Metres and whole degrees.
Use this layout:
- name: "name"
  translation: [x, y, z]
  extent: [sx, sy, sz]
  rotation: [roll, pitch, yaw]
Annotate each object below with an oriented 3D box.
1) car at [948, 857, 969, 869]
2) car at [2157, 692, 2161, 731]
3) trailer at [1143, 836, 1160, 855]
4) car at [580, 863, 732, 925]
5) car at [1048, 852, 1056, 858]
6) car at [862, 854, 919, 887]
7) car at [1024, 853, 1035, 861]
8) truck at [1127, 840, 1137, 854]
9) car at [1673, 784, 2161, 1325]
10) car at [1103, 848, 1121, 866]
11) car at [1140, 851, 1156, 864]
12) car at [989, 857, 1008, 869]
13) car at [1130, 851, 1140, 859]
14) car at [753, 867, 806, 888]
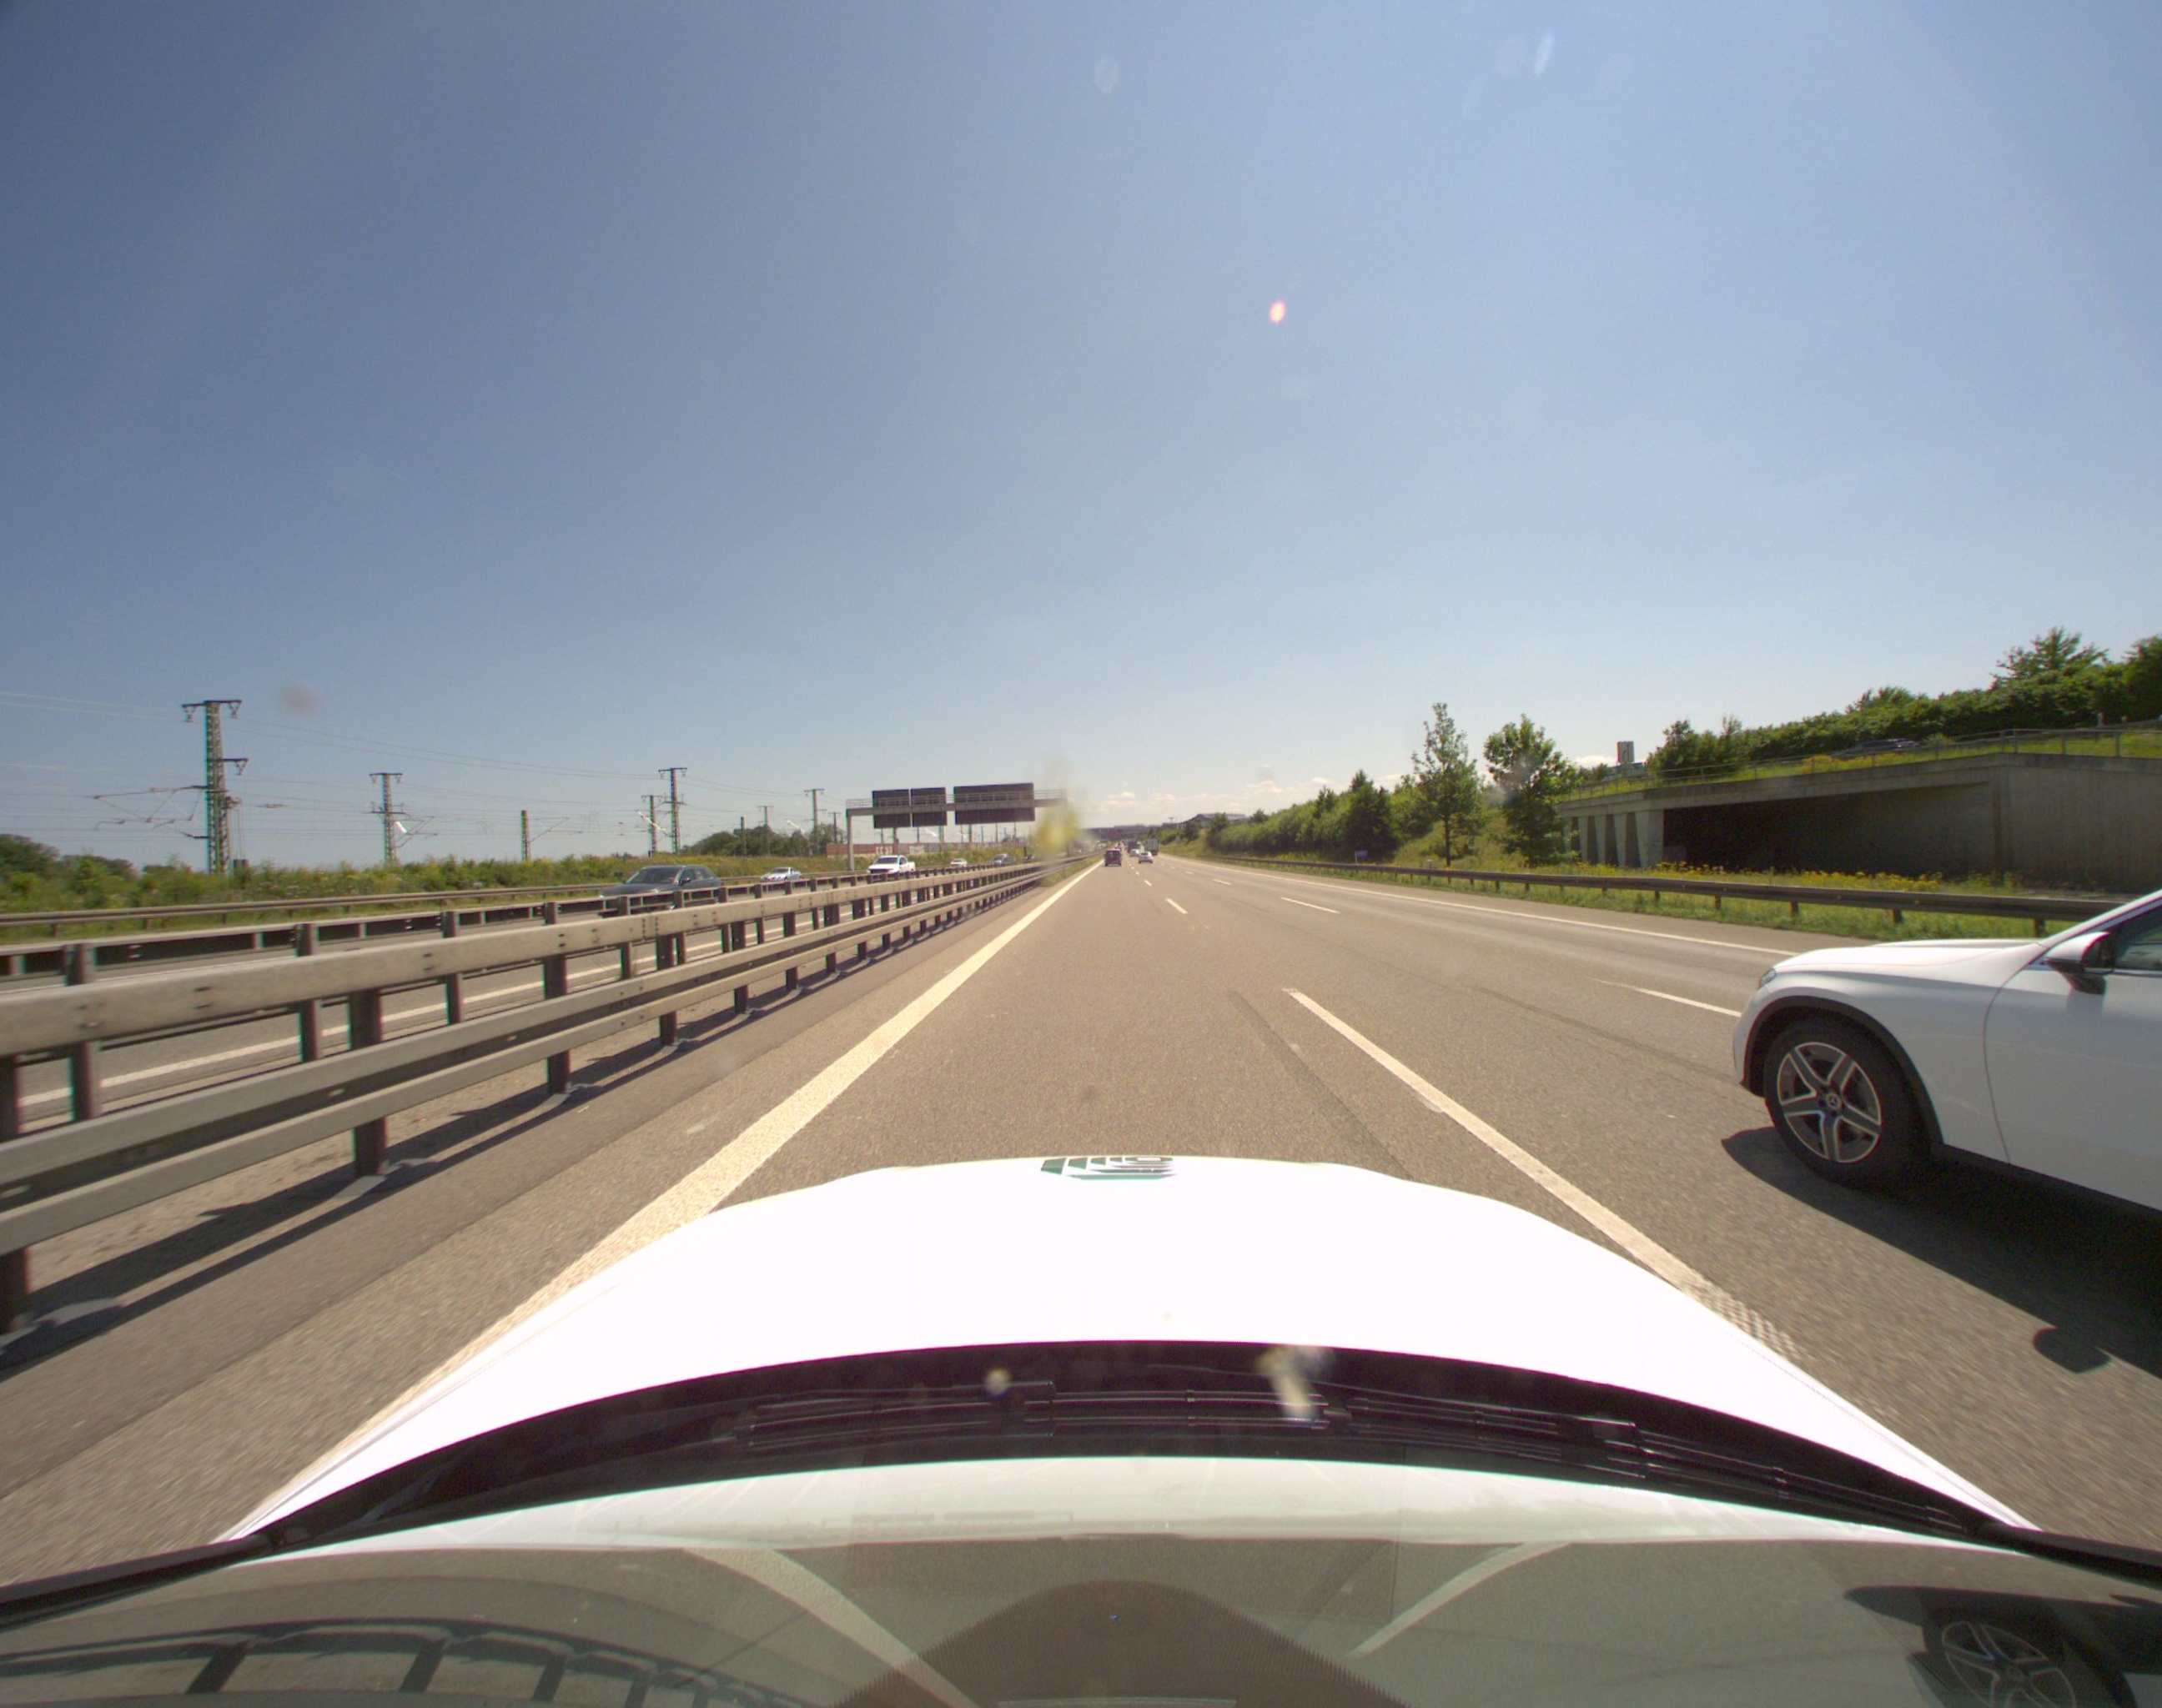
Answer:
- name: "car"
  translation: [-17.093, 1.220, 114.219]
  extent: [1.985, 1.576, 4.480]
  rotation: [-1, 0, 3]
- name: "car"
  translation: [50.891, -6.608, 35.483]
  extent: [1.988, 1.807, 4.524]
  rotation: [0, -1, -1]
- name: "trailer"
  translation: [15.953, -1.982, 184.726]
  extent: [3.164, 4.059, 9.447]
  rotation: [-3, 1, 3]
- name: "car"
  translation: [-12.334, 1.098, 24.038]
  extent: [1.986, 1.574, 4.551]
  rotation: [-1, 0, 1]
- name: "car"
  translation: [-8.610, 0.313, 244.816]
  extent: [1.985, 1.726, 4.516]
  rotation: [-1, 0, 3]
- name: "car"
  translation: [-11.643, 0.964, 50.124]
  extent: [1.986, 1.831, 5.601]
  rotation: [-1, 0, 2]
- name: "car"
  translation: [-11.732, 0.735, 186.036]
  extent: [1.985, 1.726, 4.517]
  rotation: [-1, 0, 3]
- name: "truck"
  translation: [13.377, -1.890, 213.122]
  extent: [2.346, 3.416, 6.062]
  rotation: [-2, 1, 3]
- name: "car"
  translation: [4.238, 0.601, 2.308]
  extent: [1.897, 1.656, 4.639]
  rotation: [-1, 0, 2]
- name: "car"
  translation: [3.387, 0.326, 87.995]
  extent: [1.873, 1.775, 4.003]
  rotation: [-2, 0, 3]
- name: "car"
  translation: [8.428, 0.445, 102.576]
  extent: [1.871, 1.526, 4.006]
  rotation: [-1, 0, 5]
- name: "car"
  translation: [-11.913, 1.317, 117.471]
  extent: [1.985, 1.576, 4.480]
  rotation: [-1, 0, 3]
- name: "car"
  translation: [11.119, 0.239, 167.268]
  extent: [1.872, 1.526, 4.004]
  rotation: [-1, 0, 4]
- name: "car"
  translation: [-21.198, 1.621, 57.425]
  extent: [1.986, 1.311, 4.165]
  rotation: [-1, 0, 2]
